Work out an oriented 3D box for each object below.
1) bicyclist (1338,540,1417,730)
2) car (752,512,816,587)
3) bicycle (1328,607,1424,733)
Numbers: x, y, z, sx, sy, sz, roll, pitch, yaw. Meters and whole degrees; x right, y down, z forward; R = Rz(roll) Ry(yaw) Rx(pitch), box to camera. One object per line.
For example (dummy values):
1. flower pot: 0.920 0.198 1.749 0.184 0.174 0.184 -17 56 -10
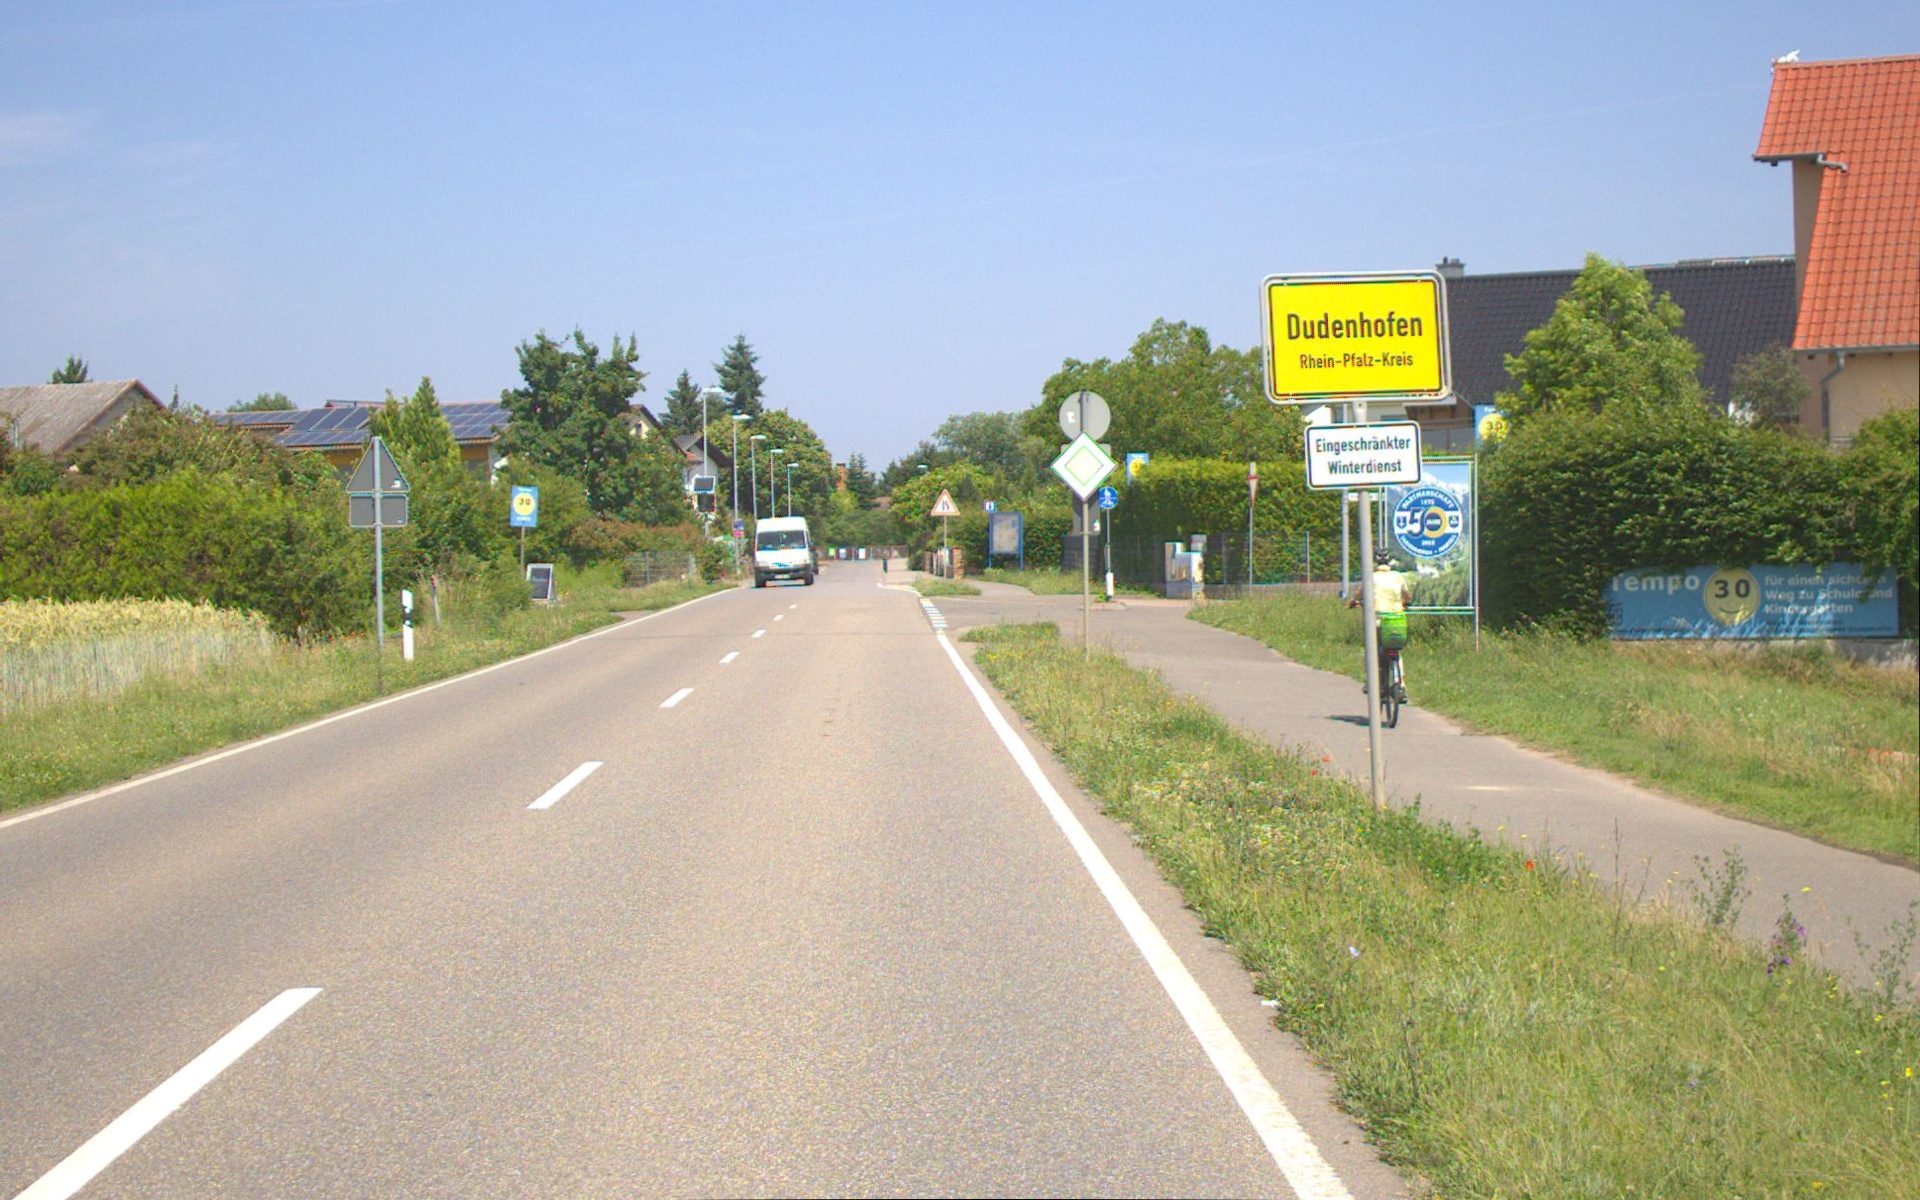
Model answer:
1. bicyclist: 4.218 0.344 34.746 0.645 1.883 0.861 0 2 -2
2. car: -6.252 -1.836 122.902 2.077 2.533 5.874 -2 1 -2
3. bicycle: 4.223 0.693 35.011 0.610 1.155 2.274 0 2 -2
